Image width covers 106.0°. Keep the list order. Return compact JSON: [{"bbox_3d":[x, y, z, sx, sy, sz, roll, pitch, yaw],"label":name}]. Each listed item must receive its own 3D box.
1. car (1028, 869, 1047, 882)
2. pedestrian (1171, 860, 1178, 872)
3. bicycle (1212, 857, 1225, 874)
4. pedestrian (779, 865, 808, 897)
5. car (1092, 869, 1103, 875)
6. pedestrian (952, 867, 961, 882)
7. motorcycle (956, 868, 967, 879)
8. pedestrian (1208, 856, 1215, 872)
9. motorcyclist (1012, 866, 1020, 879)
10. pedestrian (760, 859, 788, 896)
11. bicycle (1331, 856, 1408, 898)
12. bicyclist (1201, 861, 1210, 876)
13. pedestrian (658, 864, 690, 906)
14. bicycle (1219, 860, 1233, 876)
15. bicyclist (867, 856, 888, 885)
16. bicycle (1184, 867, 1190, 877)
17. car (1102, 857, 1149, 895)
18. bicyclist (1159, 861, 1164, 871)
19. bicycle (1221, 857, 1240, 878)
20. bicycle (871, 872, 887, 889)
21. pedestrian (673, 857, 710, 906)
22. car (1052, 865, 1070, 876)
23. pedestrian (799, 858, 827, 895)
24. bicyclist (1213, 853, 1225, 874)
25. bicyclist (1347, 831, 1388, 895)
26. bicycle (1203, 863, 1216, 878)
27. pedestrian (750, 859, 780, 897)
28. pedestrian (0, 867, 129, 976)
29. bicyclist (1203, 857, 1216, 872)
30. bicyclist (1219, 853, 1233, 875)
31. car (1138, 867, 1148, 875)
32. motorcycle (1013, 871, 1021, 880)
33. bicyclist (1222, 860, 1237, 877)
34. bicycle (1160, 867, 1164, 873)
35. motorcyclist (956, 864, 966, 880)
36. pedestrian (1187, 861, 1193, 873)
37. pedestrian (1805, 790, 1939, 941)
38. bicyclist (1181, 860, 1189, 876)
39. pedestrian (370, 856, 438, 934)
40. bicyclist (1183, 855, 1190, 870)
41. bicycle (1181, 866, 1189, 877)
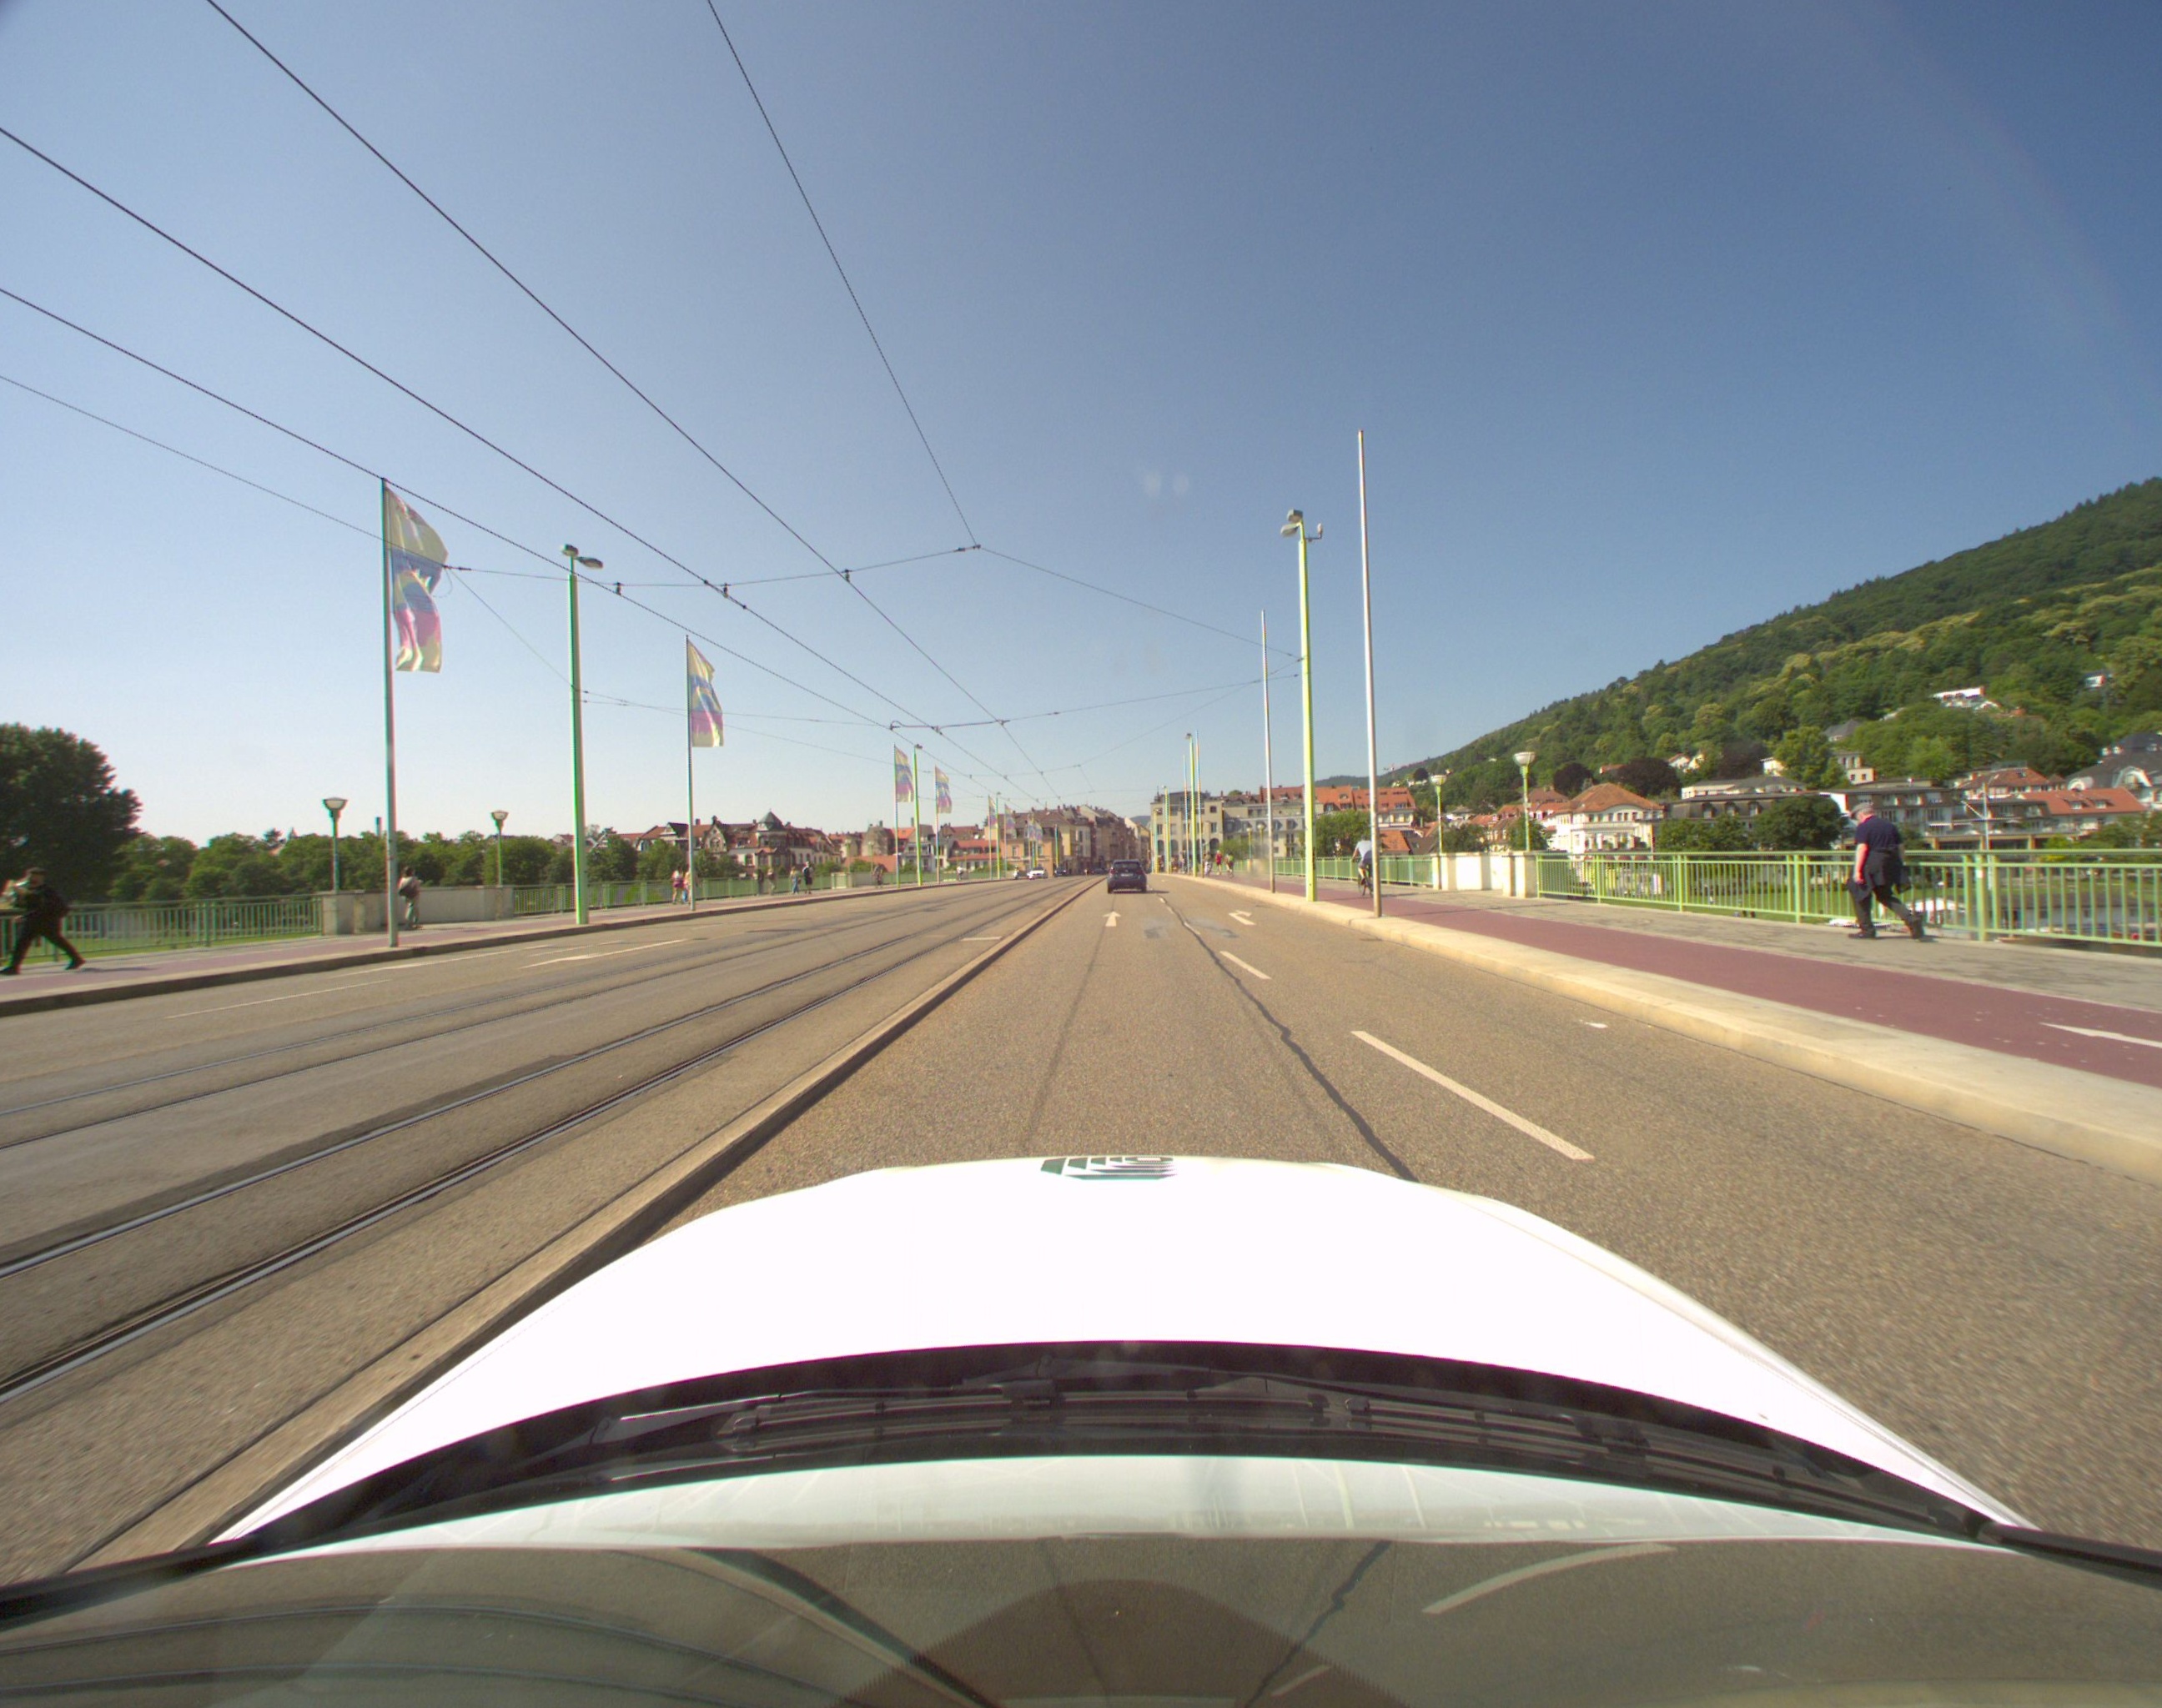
[{"bbox_3d":[-5.051,2.468,93.395,1.990,1.409,4.539,-2,-1,-5],"label":"car"},{"bbox_3d":[12.713,1.633,110.729,0.830,1.689,0.869,-2,-1,3],"label":"pedestrian"},{"bbox_3d":[10.902,0.900,64.589,0.616,1.271,2.216,-2,-1,1],"label":"bicycle"},{"bbox_3d":[-16.167,1.529,45.834,1.093,1.729,1.295,-2,0,0],"label":"pedestrian"},{"bbox_3d":[3.941,4.391,197.948,1.981,1.479,4.011,-2,-1,10],"label":"car"},{"bbox_3d":[-14.637,2.396,95.870,0.827,1.722,1.095,-2,-1,3],"label":"pedestrian"},{"bbox_3d":[-12.307,1.963,83.725,0.698,1.110,2.180,-2,-1,2],"label":"motorcycle"},{"bbox_3d":[13.764,1.060,85.758,0.597,1.586,0.867,-2,-1,1],"label":"pedestrian"},{"bbox_3d":[-8.044,2.277,101.348,0.824,1.574,0.832,-2,-1,2],"label":"motorcyclist"},{"bbox_3d":[-17.154,1.315,45.557,1.093,2.013,1.129,-2,0,0],"label":"pedestrian"},{"bbox_3d":[8.201,0.616,23.402,0.790,1.096,3.742,-2,0,-1],"label":"bicycle"},{"bbox_3d":[9.567,1.118,62.743,0.595,1.101,0.855,-2,-1,13],"label":"bicyclist"},{"bbox_3d":[-17.385,1.307,34.841,0.751,1.722,1.175,-1,-1,0],"label":"pedestrian"},{"bbox_3d":[10.205,0.972,57.264,0.616,1.037,2.267,-2,-1,1],"label":"bicycle"},{"bbox_3d":[-14.171,1.129,56.813,1.093,1.961,1.129,-2,0,0],"label":"bicyclist"},{"bbox_3d":[11.896,2.019,91.509,0.524,1.178,2.029,-2,-1,2],"label":"bicycle"},{"bbox_3d":[1.962,0.962,36.973,1.903,1.540,4.000,-3,0,1],"label":"car"},{"bbox_3d":[12.643,1.904,127.452,0.650,1.567,1.340,-4,-2,6],"label":"bicyclist"},{"bbox_3d":[9.214,0.844,50.351,0.693,1.193,2.077,-2,-1,-2],"label":"bicycle"},{"bbox_3d":[-14.098,1.834,56.865,0.586,1.096,2.113,-2,0,1],"label":"bicycle"},{"bbox_3d":[-16.431,1.153,34.377,0.966,2.013,1.100,-2,0,-3],"label":"pedestrian"},{"bbox_3d":[-3.127,2.543,128.635,1.981,1.599,4.350,-2,-1,10],"label":"car"},{"bbox_3d":[-15.137,1.268,46.000,1.093,2.013,1.295,-2,0,0],"label":"pedestrian"},{"bbox_3d":[10.922,0.741,64.562,0.732,1.635,0.867,-2,-1,1],"label":"bicyclist"},{"bbox_3d":[8.167,0.258,23.248,0.671,1.744,1.150,-2,-1,-1],"label":"bicyclist"},{"bbox_3d":[9.286,1.194,58.774,0.616,1.037,2.051,-2,-1,1],"label":"bicycle"},{"bbox_3d":[-17.079,1.299,44.058,1.093,2.013,1.129,-2,0,0],"label":"pedestrian"},{"bbox_3d":[-17.746,1.122,14.040,1.093,1.758,1.295,-2,0,0],"label":"pedestrian"},{"bbox_3d":[9.274,0.766,58.884,0.732,1.030,1.175,-2,-1,1],"label":"bicyclist"},{"bbox_3d":[10.195,0.716,57.236,0.732,1.500,0.980,-2,-1,1],"label":"bicyclist"},{"bbox_3d":[11.959,3.237,157.491,1.795,1.469,4.006,-3,-1,5],"label":"car"},{"bbox_3d":[-7.985,2.680,101.198,0.698,1.110,2.180,-2,-1,2],"label":"motorcycle"},{"bbox_3d":[9.253,0.882,50.741,0.665,1.045,0.979,-2,-1,-2],"label":"bicyclist"},{"bbox_3d":[12.687,2.497,127.466,0.650,0.981,2.181,-4,-2,6],"label":"bicycle"},{"bbox_3d":[-12.311,1.840,83.689,0.797,1.549,1.070,-2,-1,2],"label":"motorcyclist"},{"bbox_3d":[13.505,1.632,100.771,0.611,1.466,0.848,-2,-1,3],"label":"pedestrian"},{"bbox_3d":[9.622,0.126,9.949,0.653,1.743,0.977,-2,1,-3],"label":"pedestrian"},{"bbox_3d":[10.925,1.482,85.620,0.654,1.676,0.869,-2,-1,0],"label":"bicyclist"},{"bbox_3d":[-18.162,1.072,21.888,0.895,2.013,1.042,-2,0,0],"label":"pedestrian"},{"bbox_3d":[11.821,0.977,91.234,0.625,1.689,0.869,-2,-1,1],"label":"bicyclist"},{"bbox_3d":[10.906,1.834,85.677,0.591,1.178,1.940,-2,-1,2],"label":"bicycle"}]
